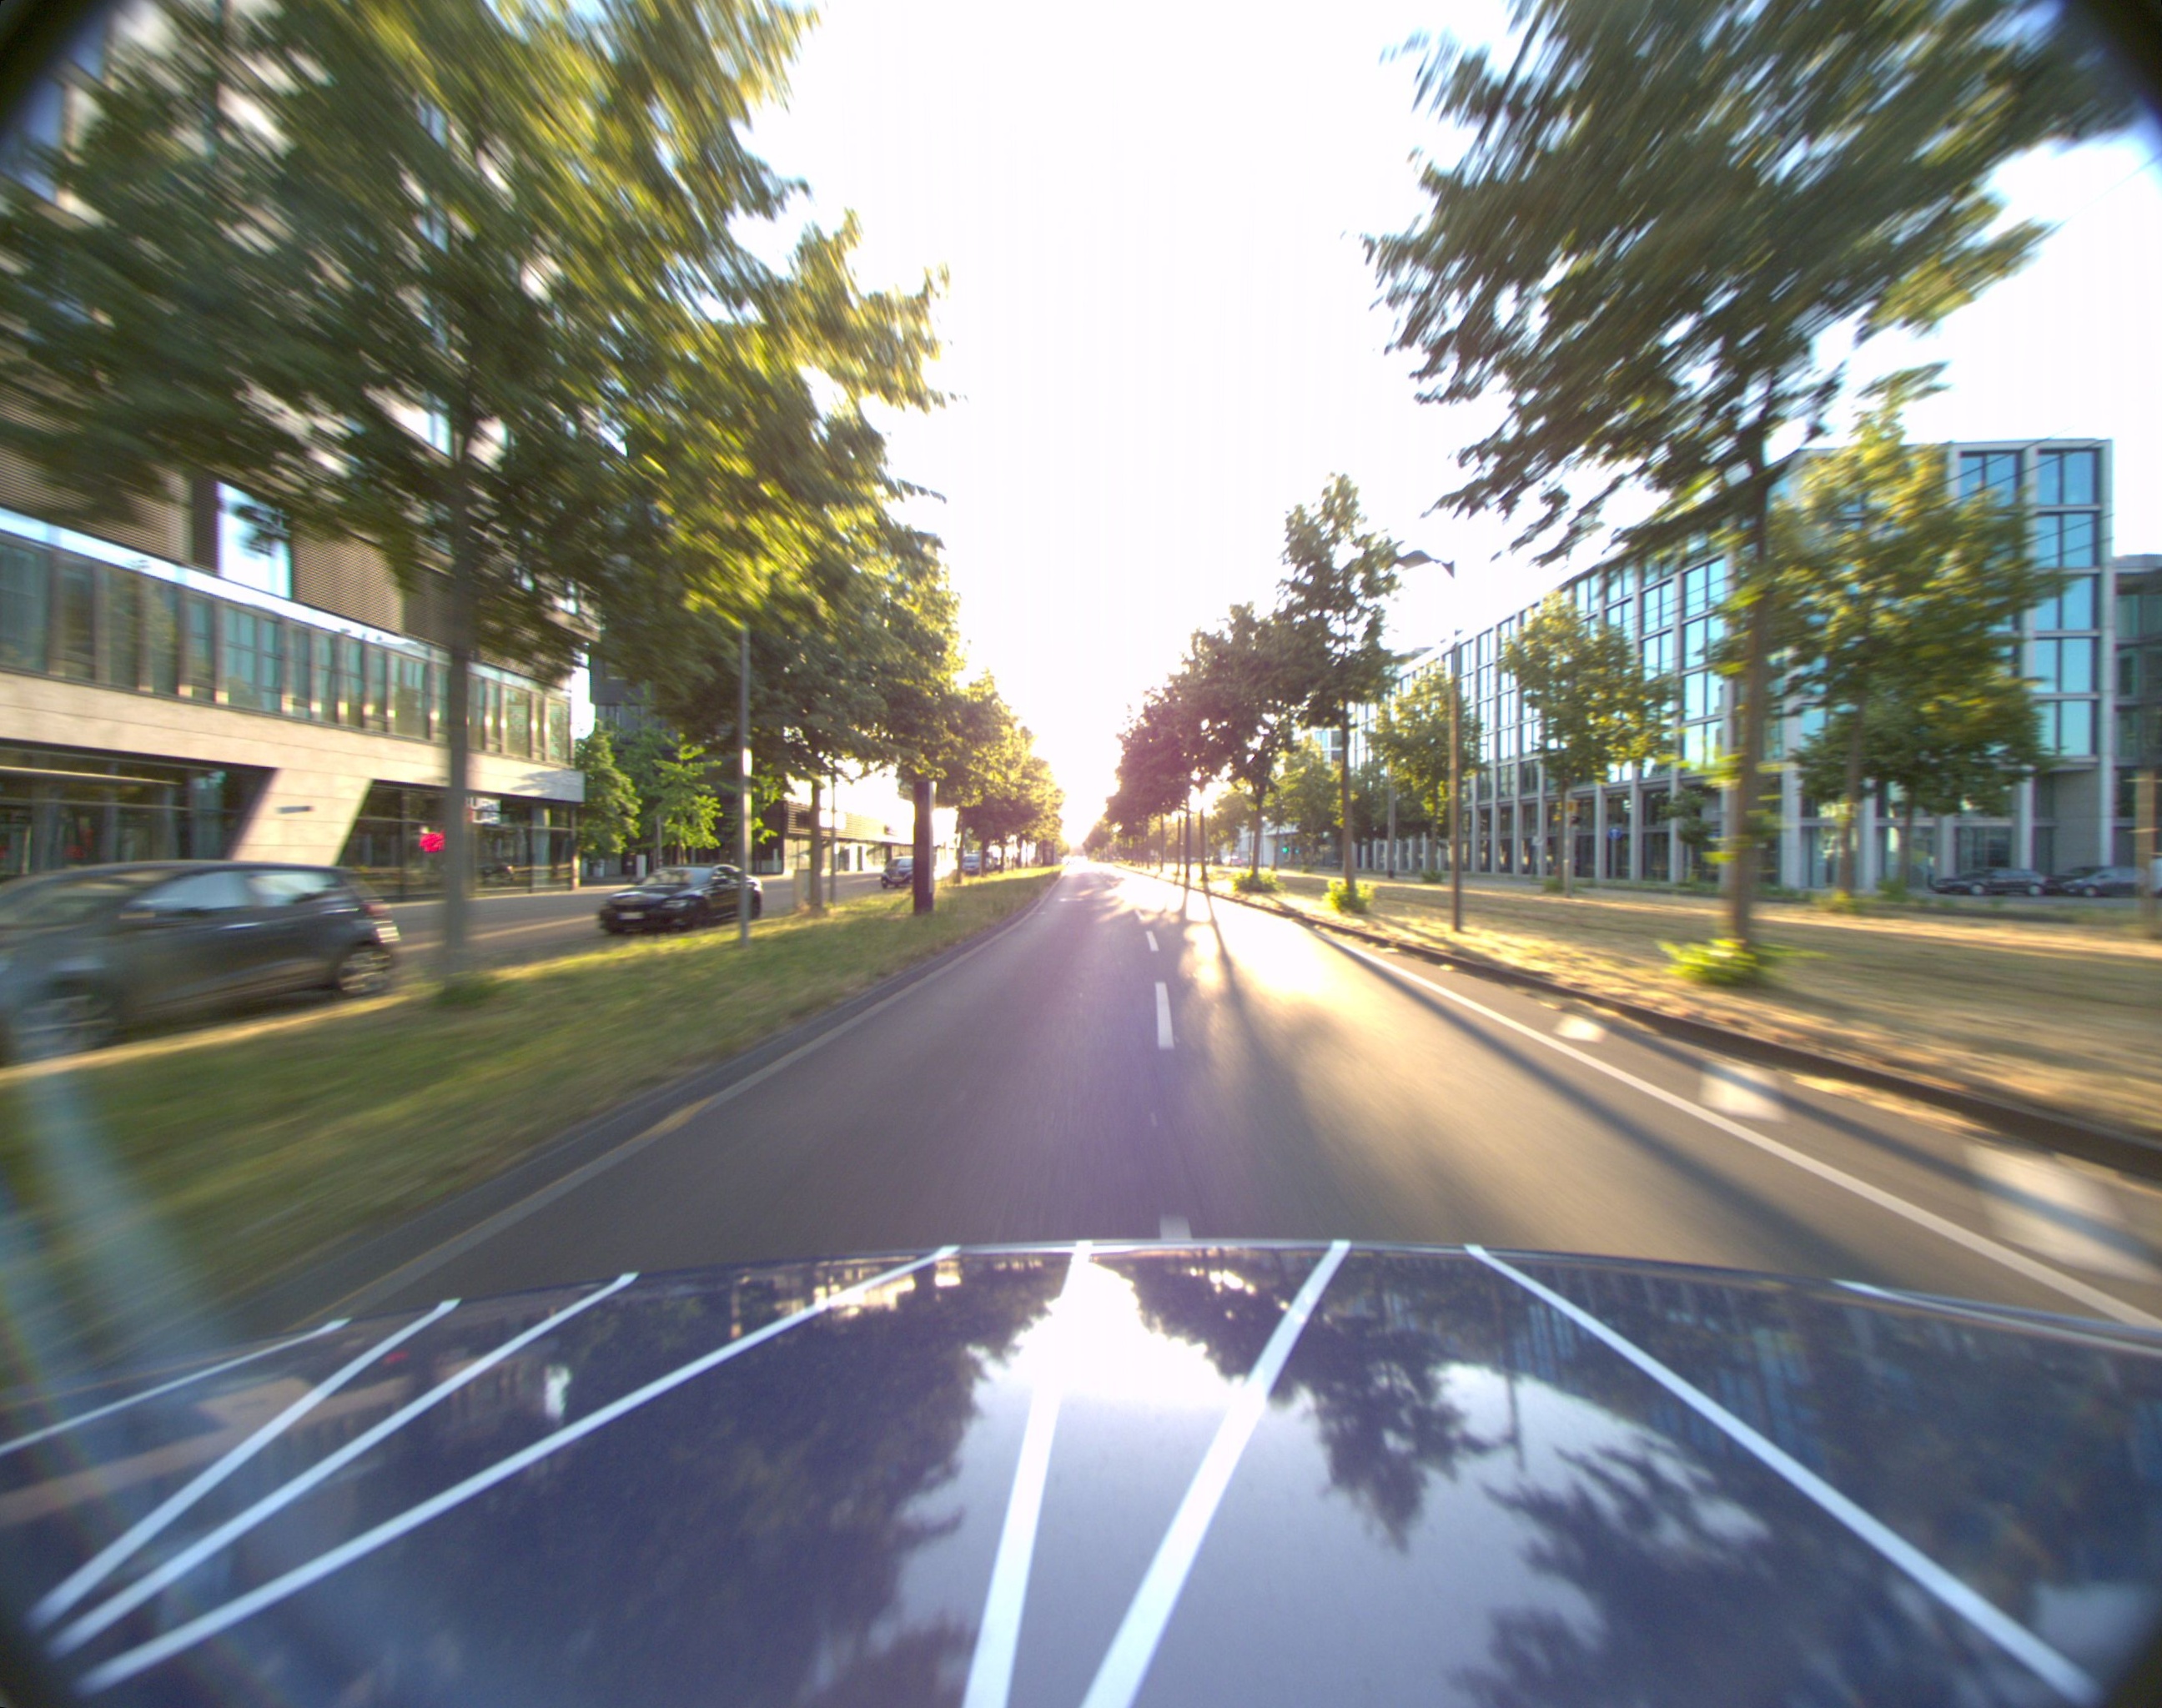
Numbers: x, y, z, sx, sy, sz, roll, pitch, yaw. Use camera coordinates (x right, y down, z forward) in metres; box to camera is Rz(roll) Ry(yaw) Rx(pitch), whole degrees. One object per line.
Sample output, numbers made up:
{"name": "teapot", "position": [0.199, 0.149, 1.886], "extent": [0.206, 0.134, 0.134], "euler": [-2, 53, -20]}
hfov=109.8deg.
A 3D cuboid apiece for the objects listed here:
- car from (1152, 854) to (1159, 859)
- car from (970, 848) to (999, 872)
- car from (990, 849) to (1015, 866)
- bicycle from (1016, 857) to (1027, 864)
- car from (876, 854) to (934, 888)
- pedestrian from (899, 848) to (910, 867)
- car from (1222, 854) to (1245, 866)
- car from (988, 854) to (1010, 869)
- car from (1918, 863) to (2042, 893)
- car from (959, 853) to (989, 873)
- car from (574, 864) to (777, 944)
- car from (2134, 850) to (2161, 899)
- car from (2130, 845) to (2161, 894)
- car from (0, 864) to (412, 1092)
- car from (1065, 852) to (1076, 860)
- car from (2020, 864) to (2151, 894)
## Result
{"name": "car", "position": [23.166, 0.766, 237.024], "extent": [1.645, 1.440, 3.999], "euler": [0, 0, -4]}
{"name": "car", "position": [-8.414, 0.475, 66.710], "extent": [1.991, 1.977, 4.931], "euler": [-1, 0, -1]}
{"name": "car", "position": [-7.492, 0.291, 72.950], "extent": [1.864, 1.488, 4.289], "euler": [4, 1, 0]}
{"name": "bicycle", "position": [-8.209, 0.893, 105.019], "extent": [1.718, 0.905, 0.363], "euler": [0, 0, 33]}
{"name": "car", "position": [-8.423, 0.780, 36.734], "extent": [1.785, 1.485, 4.000], "euler": [-3, 0, 0]}
{"name": "pedestrian", "position": [-17.004, 0.328, 73.312], "extent": [0.899, 1.786, 0.912], "euler": [0, 0, -2]}
{"name": "car", "position": [19.903, 0.765, 99.471], "extent": [1.907, 1.477, 4.630], "euler": [0, 0, -2]}
{"name": "car", "position": [-8.537, 0.711, 79.700], "extent": [1.922, 1.488, 5.040], "euler": [-1, 0, -2]}
{"name": "car", "position": [46.251, 1.220, 39.162], "extent": [3.996, 1.437, 1.894], "euler": [0, 0, 3]}
{"name": "car", "position": [-8.515, 0.687, 60.819], "extent": [1.843, 1.561, 4.060], "euler": [-1, 0, -1]}
{"name": "car", "position": [-8.348, 0.932, 16.253], "extent": [1.857, 1.359, 4.833], "euler": [-1, 0, -2]}
{"name": "car", "position": [45.396, 0.836, 29.411], "extent": [2.212, 2.002, 5.083], "euler": [0, 0, 0]}
{"name": "car", "position": [57.143, 0.792, 38.282], "extent": [5.493, 2.453, 1.973], "euler": [0, 1, 4]}
{"name": "car", "position": [-8.305, 0.905, 6.558], "extent": [1.714, 1.506, 3.758], "euler": [-2, 0, -1]}
{"name": "car", "position": [-2.005, 0.459, 141.108], "extent": [1.999, 1.473, 4.335], "euler": [0, 0, -1]}
{"name": "car", "position": [51.173, 1.271, 38.782], "extent": [3.996, 1.437, 1.895], "euler": [0, 0, 4]}
